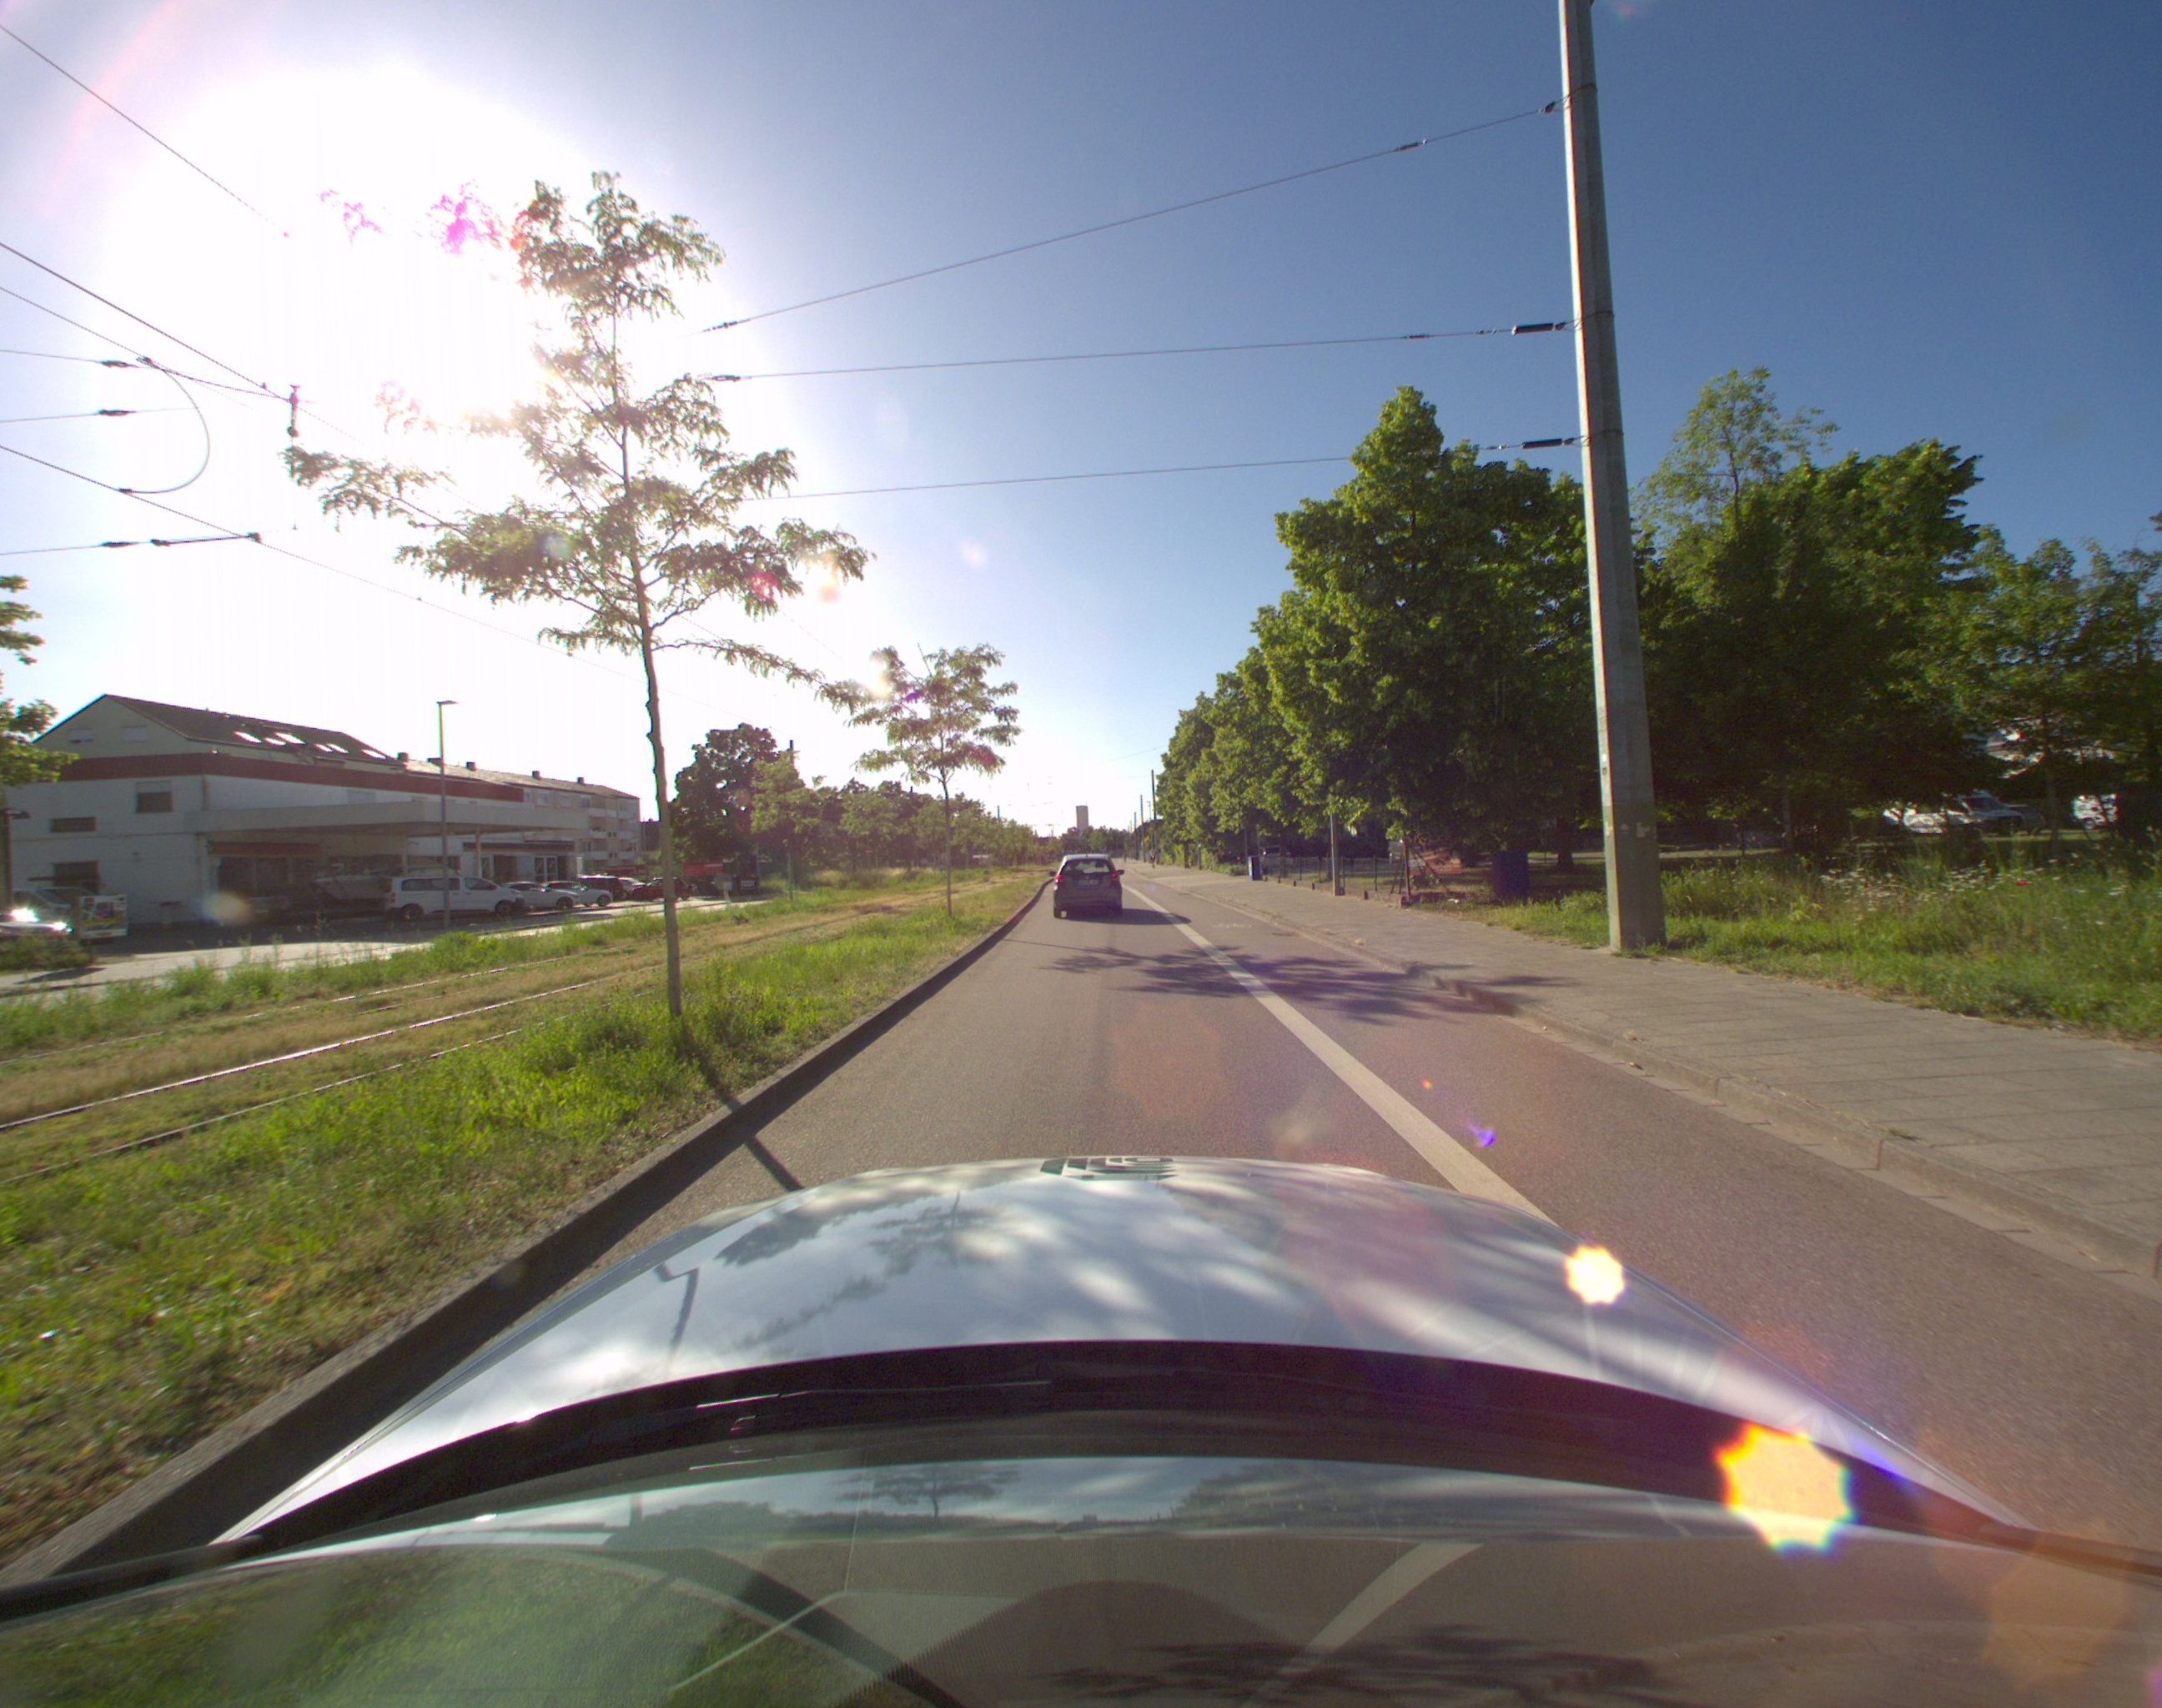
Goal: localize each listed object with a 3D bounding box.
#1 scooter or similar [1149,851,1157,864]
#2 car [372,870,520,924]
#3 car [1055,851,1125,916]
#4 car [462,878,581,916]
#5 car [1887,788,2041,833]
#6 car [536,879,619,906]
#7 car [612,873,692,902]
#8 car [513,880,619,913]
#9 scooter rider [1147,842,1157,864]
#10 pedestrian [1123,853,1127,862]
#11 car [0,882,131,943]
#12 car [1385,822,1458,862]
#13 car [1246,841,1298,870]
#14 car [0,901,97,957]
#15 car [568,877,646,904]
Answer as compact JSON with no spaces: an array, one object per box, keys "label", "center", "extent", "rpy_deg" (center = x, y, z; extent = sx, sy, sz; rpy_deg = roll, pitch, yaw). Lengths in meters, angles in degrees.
[{"label":"scooter or similar","center":[6.461,0.291,73.461],"extent":[0.537,1.118,1.417],"rpy_deg":[-3,-1,0]},{"label":"car","center":[-27.883,1.851,35.905],"extent":[1.837,1.974,4.817],"rpy_deg":[-3,0,40]},{"label":"car","center":[0.208,0.692,20.764],"extent":[1.619,1.499,3.456],"rpy_deg":[-1,0,0]},{"label":"car","center":[-27.655,2.104,40.406],"extent":[1.769,1.528,4.500],"rpy_deg":[-3,0,40]},{"label":"car","center":[47.217,-2.268,43.812],"extent":[2.010,2.039,5.874],"rpy_deg":[-2,0,2]},{"label":"car","center":[-32.051,2.430,51.900],"extent":[4.058,1.444,1.791],"rpy_deg":[-3,0,-1]},{"label":"car","center":[-27.552,2.130,52.394],"extent":[4.058,1.568,1.791],"rpy_deg":[-3,0,-1]},{"label":"car","center":[-28.023,2.283,44.449],"extent":[1.769,1.471,4.500],"rpy_deg":[-3,0,31]},{"label":"scooter rider","center":[6.430,-0.079,73.576],"extent":[0.714,1.901,0.934],"rpy_deg":[-3,-1,0]},{"label":"pedestrian","center":[9.052,0.754,166.454],"extent":[0.719,1.800,1.164],"rpy_deg":[-3,0,1]},{"label":"car","center":[-40.124,2.273,31.324],"extent":[4.706,2.091,2.021],"rpy_deg":[-3,0,0]},{"label":"car","center":[18.200,-0.594,43.833],"extent":[1.865,1.966,5.169],"rpy_deg":[-2,0,2]},{"label":"car","center":[10.336,0.100,44.267],"extent":[1.769,1.386,3.868],"rpy_deg":[-4,0,-1]},{"label":"car","center":[-31.074,2.136,23.109],"extent":[3.956,1.526,1.728],"rpy_deg":[-1,-3,-3]},{"label":"car","center":[-31.875,2.444,54.853],"extent":[4.058,1.568,1.791],"rpy_deg":[-3,0,-1]}]
